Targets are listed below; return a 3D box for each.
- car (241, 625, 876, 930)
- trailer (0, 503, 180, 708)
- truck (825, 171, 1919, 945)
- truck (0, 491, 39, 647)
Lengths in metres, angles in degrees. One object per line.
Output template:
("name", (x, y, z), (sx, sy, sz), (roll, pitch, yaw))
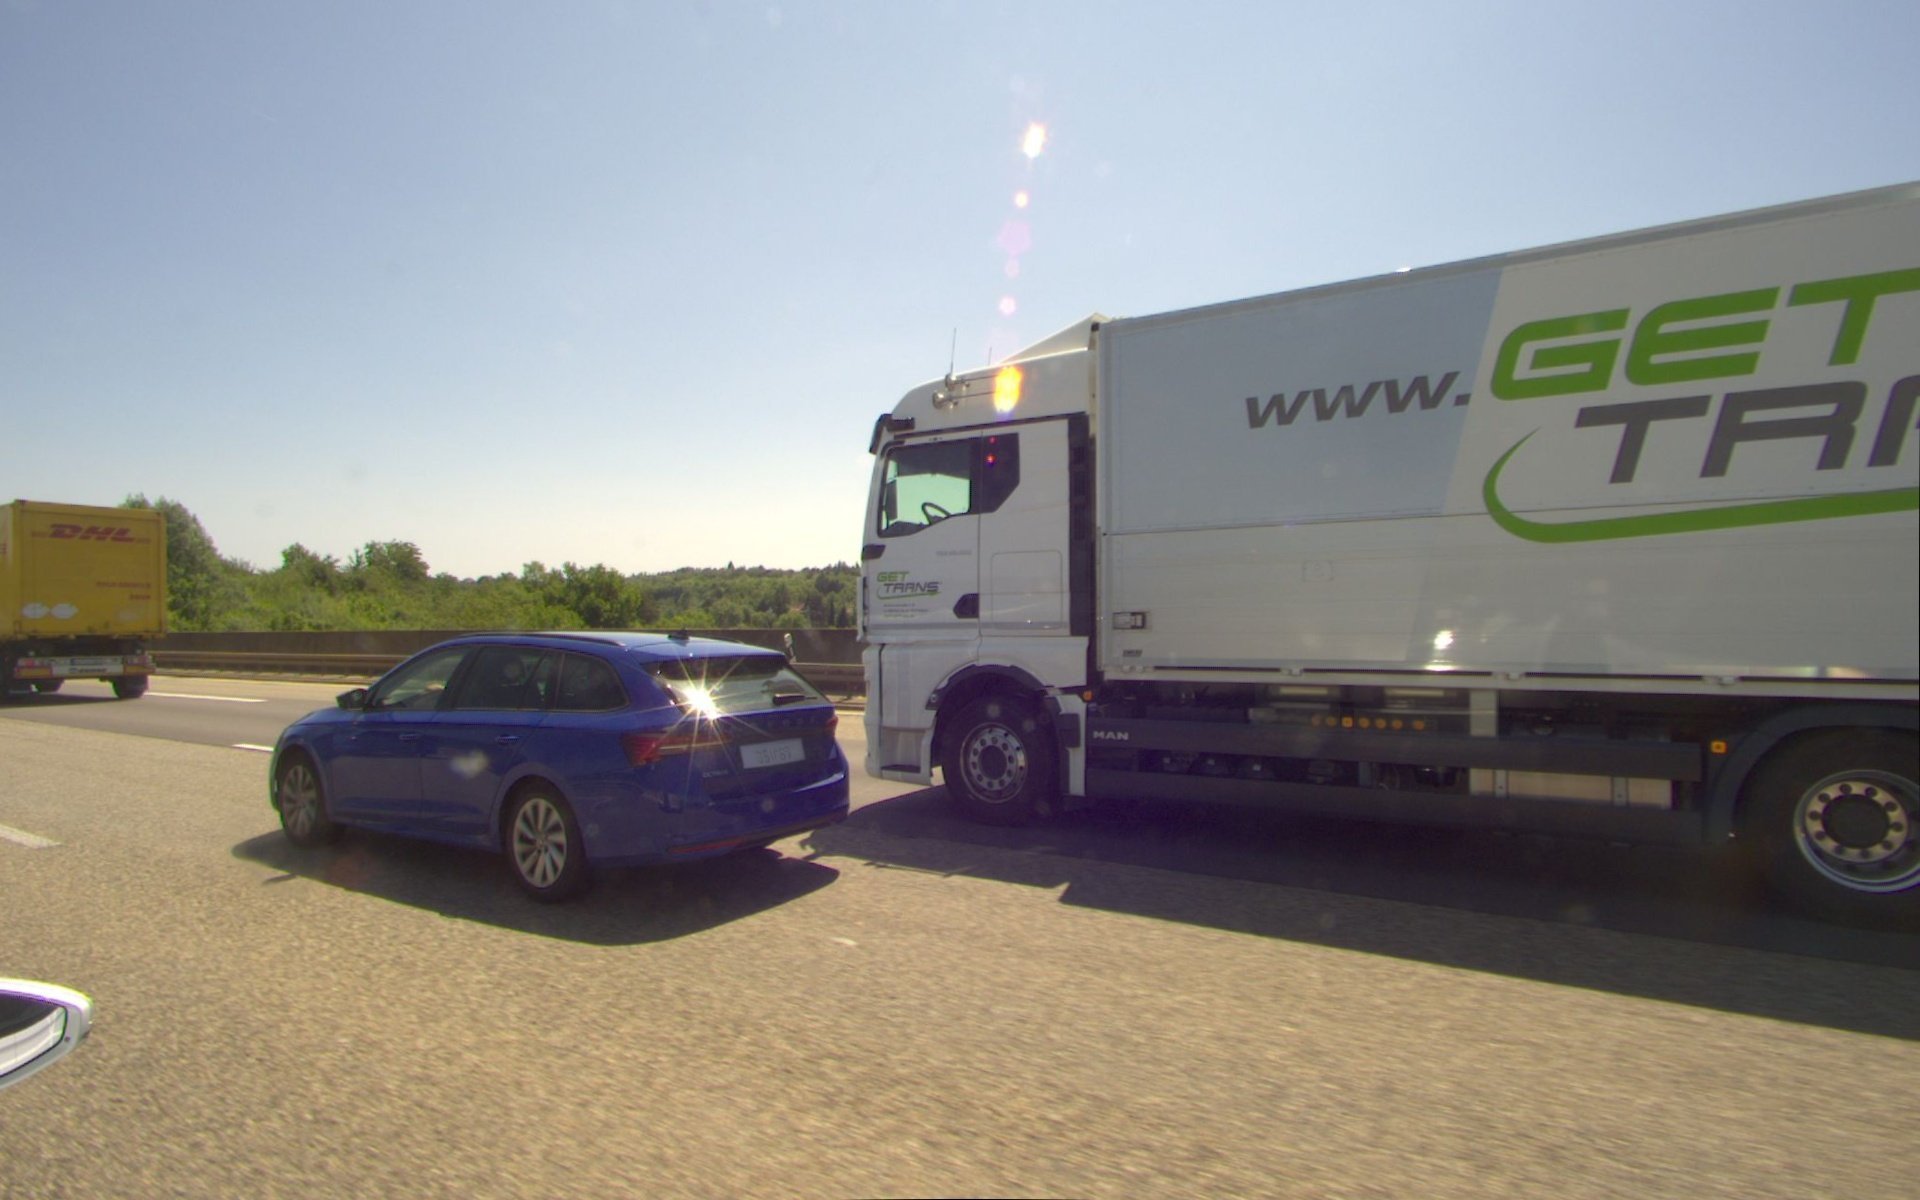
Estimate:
("car", (-2.838, 0.916, 6.719), (4.436, 1.459, 1.707), (-1, -2, 32))
("trailer", (-21.717, 0.275, 23.340), (8.803, 4.074, 2.697), (-2, -2, 32))
("truck", (4.122, -0.136, 6.656), (10.615, 3.648, 2.846), (-1, -2, 32))
("truck", (-29.785, -0.697, 28.444), (10.189, 4.105, 2.718), (-2, -2, 32))
